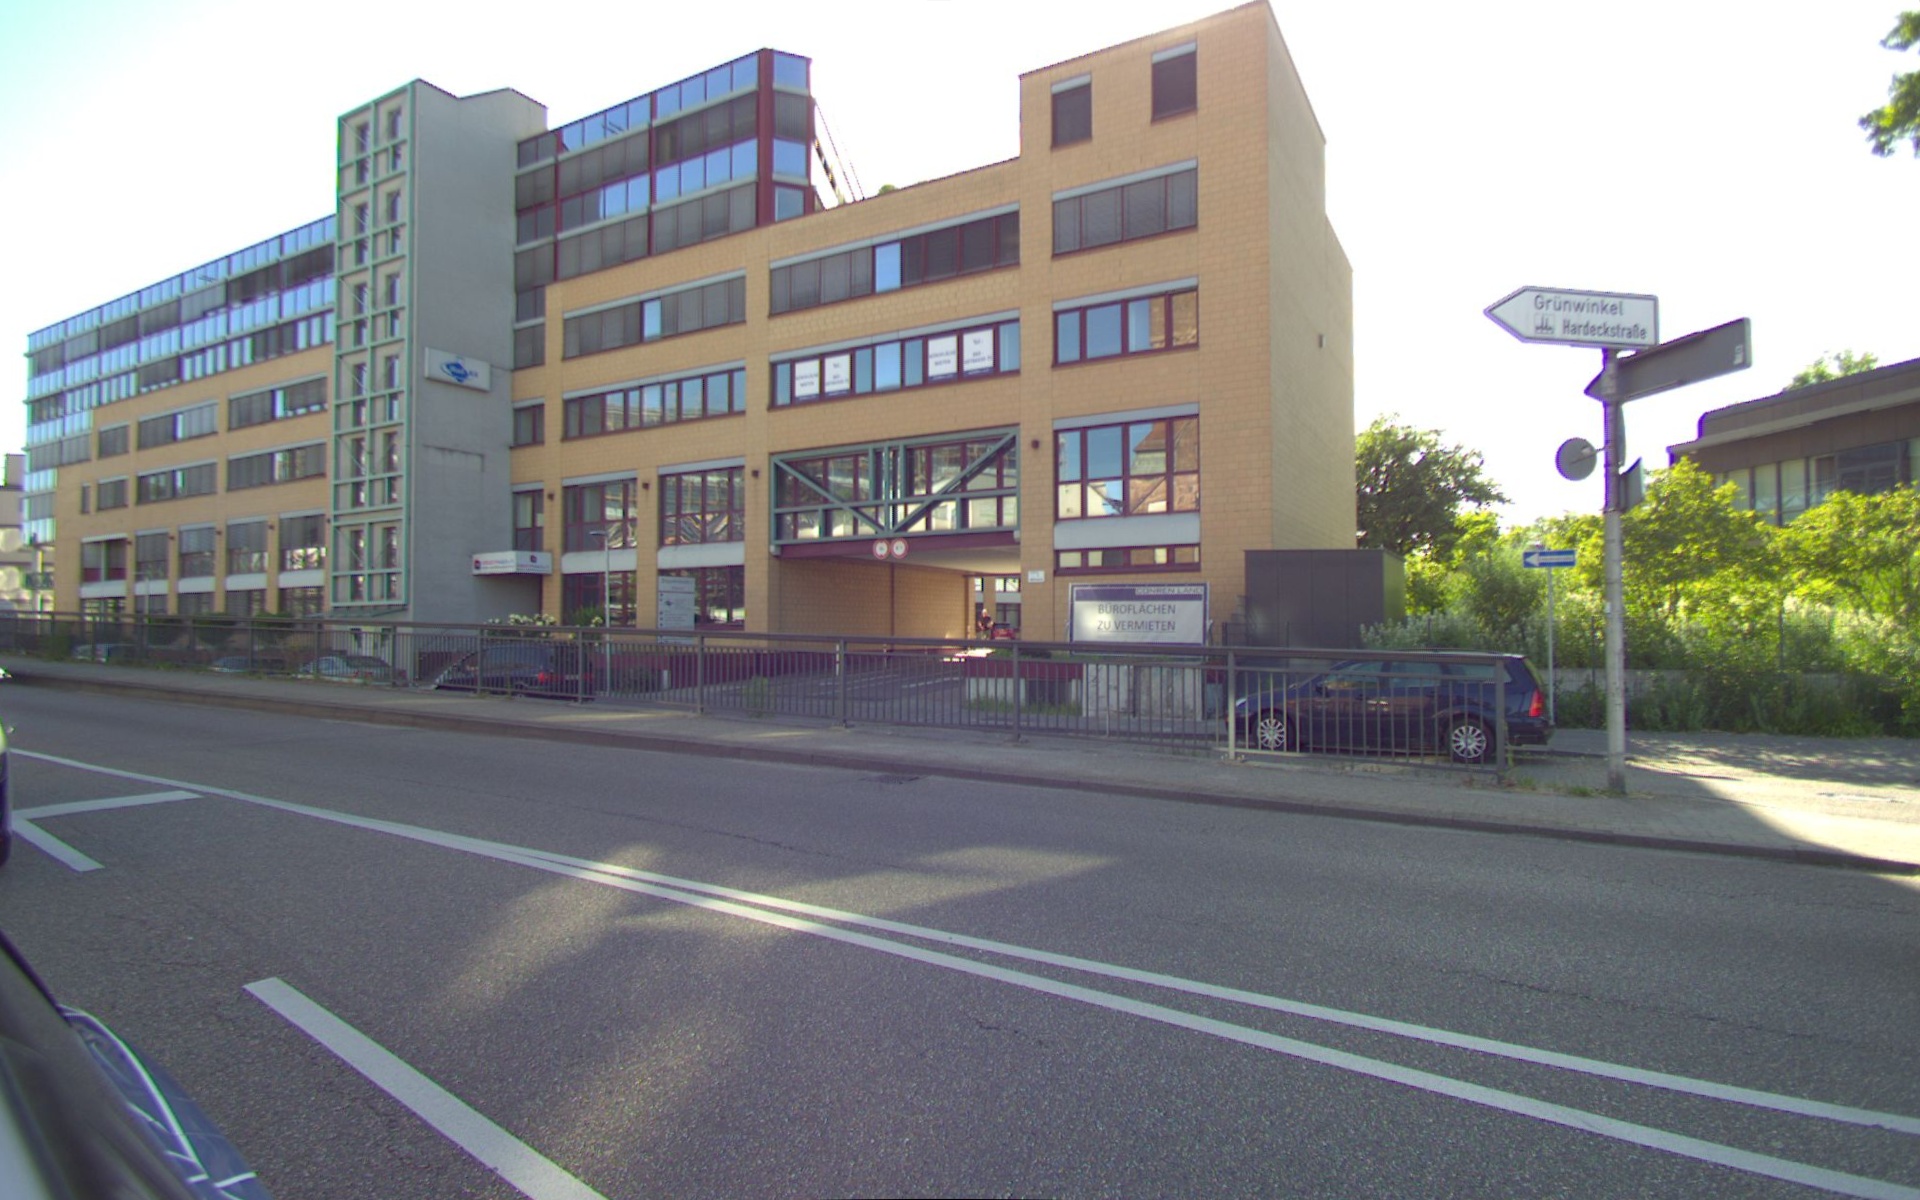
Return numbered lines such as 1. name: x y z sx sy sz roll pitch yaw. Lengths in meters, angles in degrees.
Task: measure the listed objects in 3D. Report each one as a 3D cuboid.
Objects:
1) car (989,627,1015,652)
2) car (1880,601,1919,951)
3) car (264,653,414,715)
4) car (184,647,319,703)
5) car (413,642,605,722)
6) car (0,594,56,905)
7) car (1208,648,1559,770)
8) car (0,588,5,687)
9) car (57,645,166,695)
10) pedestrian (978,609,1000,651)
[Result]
1. car: 2.761 2.609 66.729 1.621 1.586 3.150 -1 -2 2
2. car: 5.800 0.701 2.888 4.441 1.515 1.804 -2 -3 36
3. car: -17.731 2.334 28.863 4.340 1.616 1.807 -1 -3 30
4. car: -22.198 2.285 31.671 4.340 1.616 1.807 -1 -3 30
5. car: -11.144 1.942 24.941 4.667 1.771 1.938 -1 -1 29
6. car: -6.998 0.769 5.799 4.212 1.582 1.828 -1 -1 36
7. car: 6.066 1.456 14.692 4.438 1.515 1.805 -2 -3 33
8. car: -21.597 0.784 20.613 4.836 1.950 1.978 -2 -3 32
9. car: -31.134 2.514 37.123 3.988 1.737 1.977 -2 -3 33
10. pedestrian: 1.292 1.360 45.302 0.676 1.858 0.779 -2 -3 28
